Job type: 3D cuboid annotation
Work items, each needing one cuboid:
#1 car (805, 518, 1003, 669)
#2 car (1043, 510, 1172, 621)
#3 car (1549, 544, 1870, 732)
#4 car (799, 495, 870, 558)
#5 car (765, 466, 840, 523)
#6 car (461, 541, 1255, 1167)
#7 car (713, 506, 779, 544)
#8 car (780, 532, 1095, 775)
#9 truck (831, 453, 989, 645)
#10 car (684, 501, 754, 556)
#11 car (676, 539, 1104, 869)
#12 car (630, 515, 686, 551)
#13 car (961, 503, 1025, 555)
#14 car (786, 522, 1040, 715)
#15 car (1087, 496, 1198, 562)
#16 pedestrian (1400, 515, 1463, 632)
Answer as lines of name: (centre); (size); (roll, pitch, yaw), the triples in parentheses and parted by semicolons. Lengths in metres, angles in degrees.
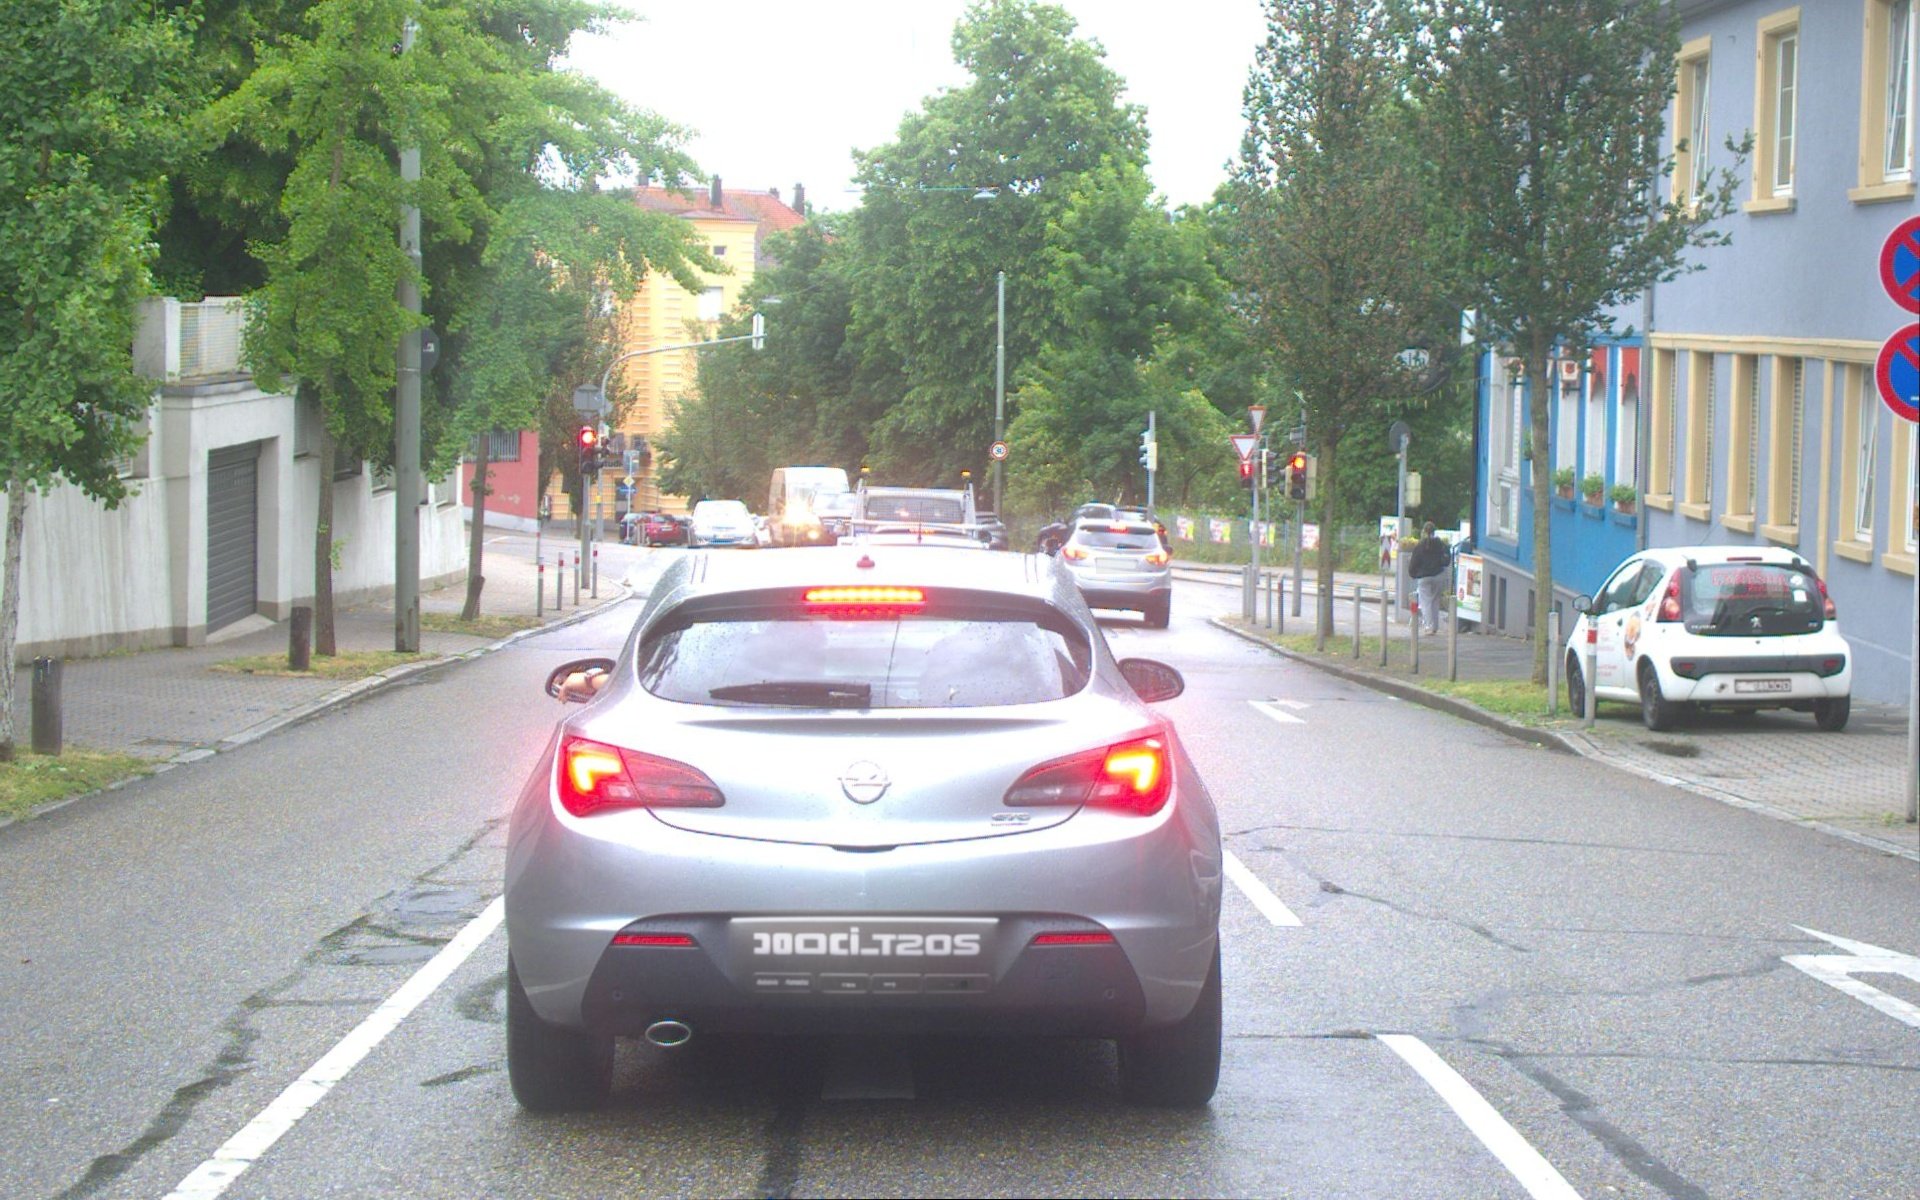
car: (-0.634, -0.114, 37.095); (1.962, 1.443, 4.306); (2, 1, -2)
car: (2.332, -0.572, 55.122); (1.722, 1.708, 3.880); (0, 1, -2)
car: (6.163, 0.266, 28.697); (1.722, 1.443, 3.880); (0, 1, -2)
car: (-3.372, -1.980, 92.596); (1.870, 1.632, 3.880); (0, 1, -2)
car: (-4.608, -3.067, 100.216); (1.722, 1.632, 3.881); (0, 1, -9)
car: (-0.318, 0.566, 9.999); (1.837, 1.429, 3.880); (1, 1, -2)
car: (-8.692, -3.041, 139.324); (1.722, 1.538, 3.881); (0, 1, -18)
car: (-0.207, 0.301, 24.058); (1.962, 1.443, 4.306); (2, 1, -2)
truck: (-0.723, -0.728, 47.087); (1.962, 2.420, 4.936); (2, 1, -2)
car: (-6.466, -1.920, 92.576); (1.722, 1.455, 3.880); (0, 1, -2)
car: (-0.394, 0.453, 18.337); (1.962, 1.443, 4.306); (2, 1, -2)
car: (-13.898, -3.080, 158.094); (1.722, 1.632, 3.881); (0, 1, -18)
car: (1.025, -2.254, 108.888); (1.722, 1.632, 3.880); (0, 1, -4)
car: (-0.437, 0.102, 29.436); (1.962, 1.443, 4.306); (2, 1, -2)
car: (4.597, -1.792, 87.159); (1.722, 1.632, 3.881); (0, 1, -15)
pedestrian: (7.082, -0.406, 51.688); (0.783, 1.723, 0.651); (2, 1, 0)
